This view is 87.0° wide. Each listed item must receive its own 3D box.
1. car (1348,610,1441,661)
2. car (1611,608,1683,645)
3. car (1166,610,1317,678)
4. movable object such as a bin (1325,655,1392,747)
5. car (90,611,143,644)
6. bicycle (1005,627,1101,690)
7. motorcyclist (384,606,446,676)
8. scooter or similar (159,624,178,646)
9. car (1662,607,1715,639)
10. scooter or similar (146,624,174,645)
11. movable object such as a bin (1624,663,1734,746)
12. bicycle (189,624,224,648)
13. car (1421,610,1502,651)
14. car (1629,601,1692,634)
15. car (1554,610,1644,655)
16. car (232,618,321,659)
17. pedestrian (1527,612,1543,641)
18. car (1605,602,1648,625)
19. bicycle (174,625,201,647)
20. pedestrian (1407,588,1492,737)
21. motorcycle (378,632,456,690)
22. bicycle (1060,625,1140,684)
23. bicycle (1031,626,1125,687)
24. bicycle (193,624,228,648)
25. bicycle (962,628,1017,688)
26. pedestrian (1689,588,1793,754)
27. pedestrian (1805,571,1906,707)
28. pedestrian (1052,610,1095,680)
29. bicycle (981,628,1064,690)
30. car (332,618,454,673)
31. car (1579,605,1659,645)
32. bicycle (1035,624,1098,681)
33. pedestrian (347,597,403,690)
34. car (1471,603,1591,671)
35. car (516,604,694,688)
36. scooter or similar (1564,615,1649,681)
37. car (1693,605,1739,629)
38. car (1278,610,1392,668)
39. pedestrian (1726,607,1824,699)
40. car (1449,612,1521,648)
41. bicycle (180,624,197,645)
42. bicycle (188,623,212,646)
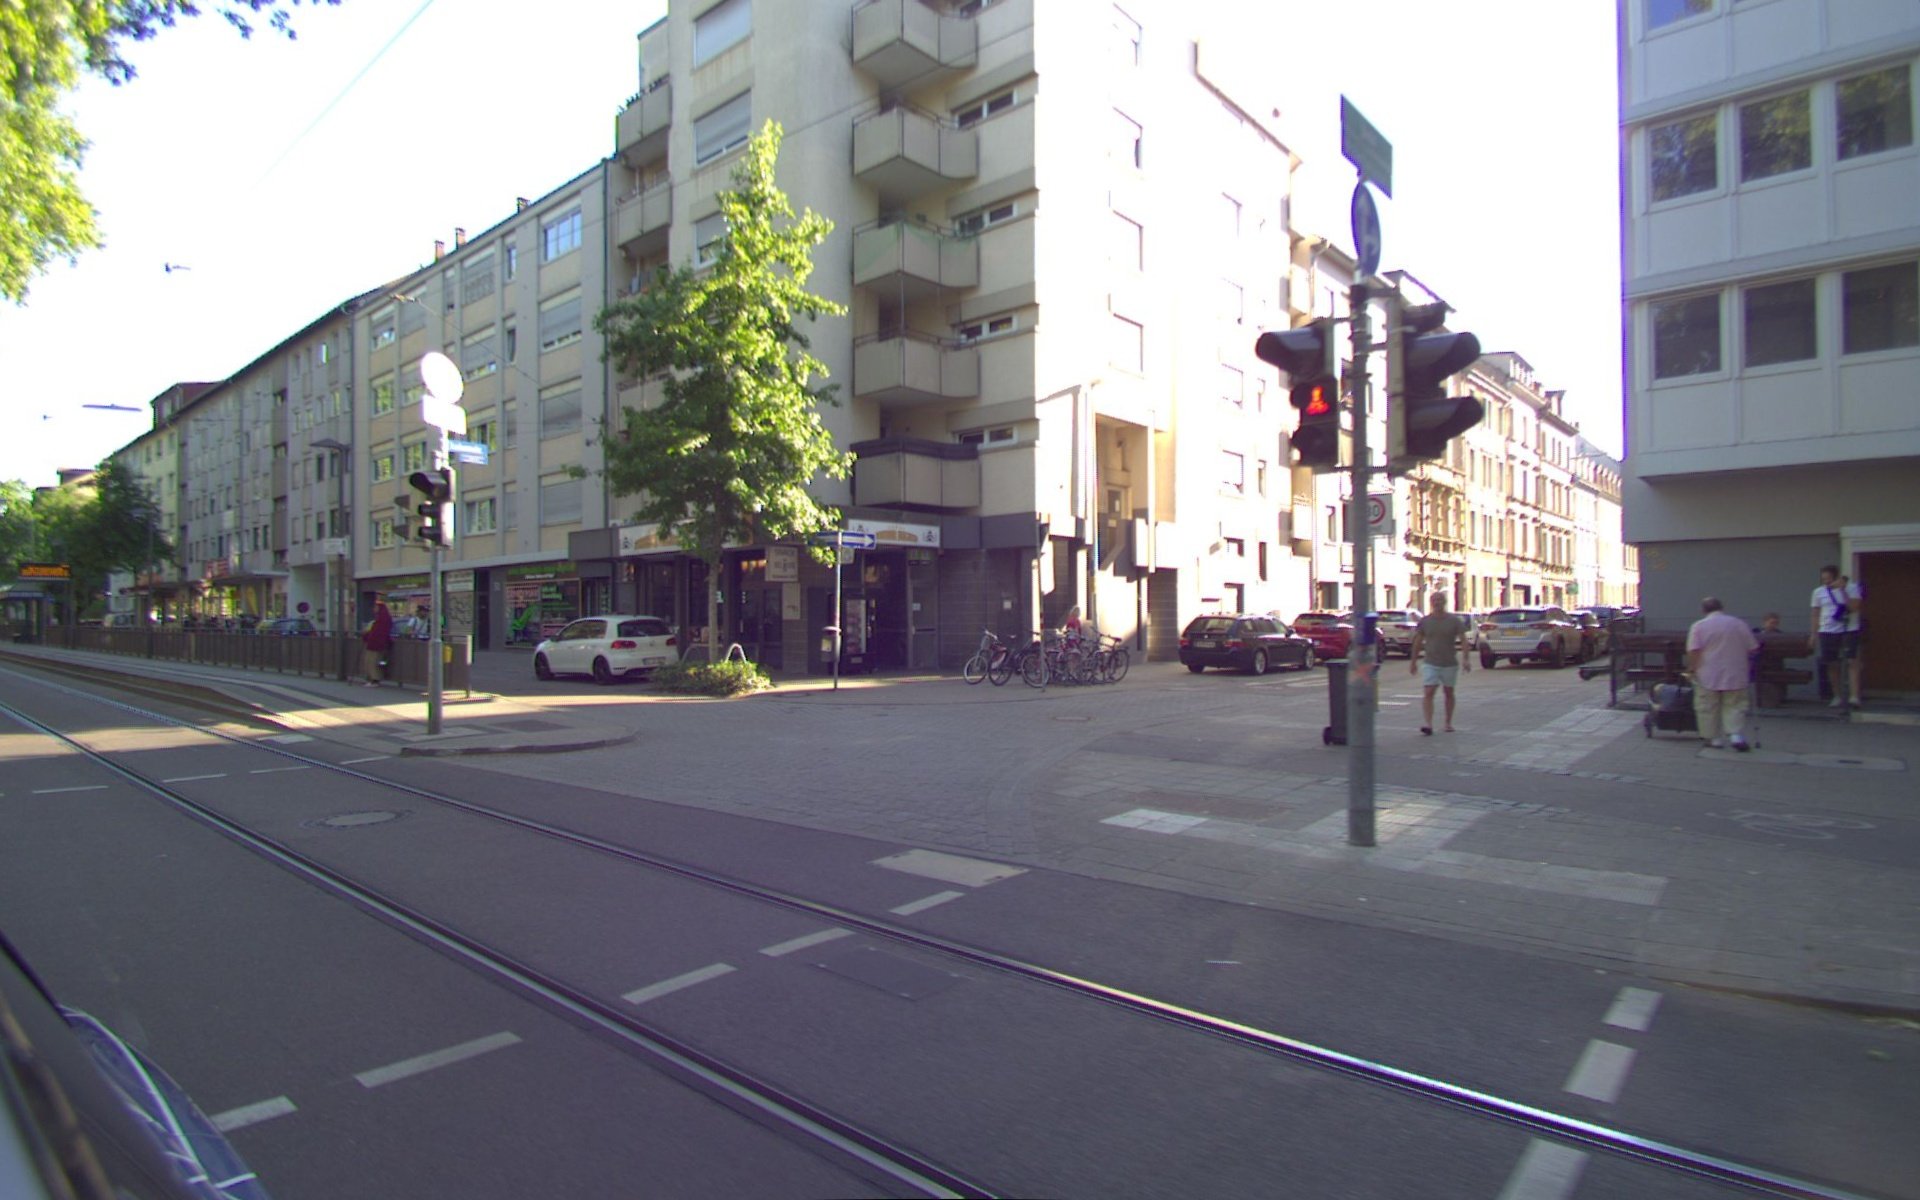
[{"bbox_3d":[13.896,1.091,32.267,1.892,1.515,3.735,-1,-1,37],"label":"car"},{"bbox_3d":[27.447,1.046,40.380,1.890,1.394,3.945,-1,-1,41],"label":"car"},{"bbox_3d":[6.984,1.025,24.857,1.894,1.515,4.235,-1,-1,42],"label":"car"},{"bbox_3d":[4.352,1.082,11.033,0.646,0.939,0.536,-1,-2,25],"label":"movable object such as a bin"},{"bbox_3d":[-50.687,1.658,60.780,4.046,1.949,1.785,-1,-2,40],"label":"car"},{"bbox_3d":[1.794,1.120,19.530,1.759,1.165,0.574,0,-1,-18],"label":"bicycle"},{"bbox_3d":[-11.616,0.857,21.570,1.015,1.451,0.864,-1,-2,41],"label":"motorcyclist"},{"bbox_3d":[-42.988,1.881,54.962,1.273,1.183,0.440,-1,-2,37],"label":"scooter or similar"},{"bbox_3d":[38.355,1.203,53.245,1.890,1.593,3.945,-1,-1,41],"label":"car"},{"bbox_3d":[-44.060,1.904,55.737,1.259,1.183,0.445,0,-1,5],"label":"scooter or similar"},{"bbox_3d":[7.805,1.113,11.036,0.661,0.763,1.189,-1,0,20],"label":"movable object such as a bin"},{"bbox_3d":[-37.976,1.817,50.980,2.019,1.165,0.555,-1,-2,26],"label":"bicycle"},{"bbox_3d":[19.587,1.174,39.460,1.894,1.515,3.730,-1,-1,42],"label":"car"},{"bbox_3d":[31.460,0.785,45.429,1.890,1.394,3.945,-1,-1,41],"label":"car"},{"bbox_3d":[20.999,1.022,33.210,1.890,1.394,3.945,-1,-1,41],"label":"car"},{"bbox_3d":[-25.932,1.424,38.357,4.280,1.475,1.775,-1,-2,42],"label":"car"},{"bbox_3d":[31.617,1.472,55.647,0.664,1.568,0.716,-1,-2,37],"label":"pedestrian"},{"bbox_3d":[44.965,0.899,68.231,1.894,1.515,3.730,-1,-1,42],"label":"car"},{"bbox_3d":[-41.230,1.929,54.019,2.033,1.165,0.565,-1,-2,36],"label":"bicycle"},{"bbox_3d":[5.787,0.713,11.965,0.767,1.684,0.750,-1,-2,36],"label":"pedestrian"},{"bbox_3d":[-11.567,1.275,21.534,1.914,1.173,0.840,-1,-2,41],"label":"motorcycle"},{"bbox_3d":[2.919,1.107,21.056,1.761,1.165,0.573,1,-2,-38],"label":"bicycle"},{"bbox_3d":[2.338,1.099,20.079,1.759,1.165,0.574,0,-1,-18],"label":"bicycle"},{"bbox_3d":[-38.093,1.816,51.409,2.019,1.165,0.555,-1,-2,26],"label":"bicycle"},{"bbox_3d":[0.636,1.164,20.935,0.567,1.165,2.025,-1,-1,19],"label":"bicycle"},{"bbox_3d":[7.772,0.680,10.109,0.767,1.568,0.718,-1,-2,36],"label":"pedestrian"},{"bbox_3d":[11.408,0.488,12.898,0.737,1.672,0.771,1,-2,-34],"label":"pedestrian"},{"bbox_3d":[2.581,1.013,23.034,0.715,1.568,0.728,0,-1,-18],"label":"pedestrian"},{"bbox_3d":[1.266,1.146,20.239,1.837,1.165,0.572,1,-2,-45],"label":"bicycle"},{"bbox_3d":[-17.405,1.347,30.996,4.387,1.556,1.935,-1,-2,42],"label":"car"},{"bbox_3d":[24.055,0.884,36.870,1.890,1.394,3.945,-1,-1,41],"label":"car"},{"bbox_3d":[2.312,1.106,21.752,0.571,1.165,1.769,-1,-1,34],"label":"bicycle"},{"bbox_3d":[-10.364,0.758,17.927,0.772,1.597,0.647,-1,-1,42],"label":"pedestrian"},{"bbox_3d":[14.678,0.909,25.928,1.890,1.593,3.945,-1,-1,41],"label":"car"},{"bbox_3d":[-8.117,0.985,22.935,4.355,1.663,1.859,-1,0,41],"label":"car"},{"bbox_3d":[12.612,0.926,19.759,1.291,1.269,0.497,0,-1,6],"label":"scooter or similar"},{"bbox_3d":[46.023,1.029,61.585,1.890,1.394,3.945,-1,-1,41],"label":"car"},{"bbox_3d":[10.674,1.057,28.678,1.804,1.515,3.730,-1,-1,42],"label":"car"},{"bbox_3d":[11.440,0.733,14.230,0.760,1.251,0.748,0,-1,8],"label":"pedestrian"},{"bbox_3d":[22.724,1.264,43.734,1.894,1.515,3.730,-1,-1,42],"label":"car"},{"bbox_3d":[-42.763,1.892,56.065,1.688,1.165,0.506,-2,-2,45],"label":"bicycle"},{"bbox_3d":[-39.701,1.809,52.842,1.748,1.165,0.488,-1,-2,36],"label":"bicycle"}]
